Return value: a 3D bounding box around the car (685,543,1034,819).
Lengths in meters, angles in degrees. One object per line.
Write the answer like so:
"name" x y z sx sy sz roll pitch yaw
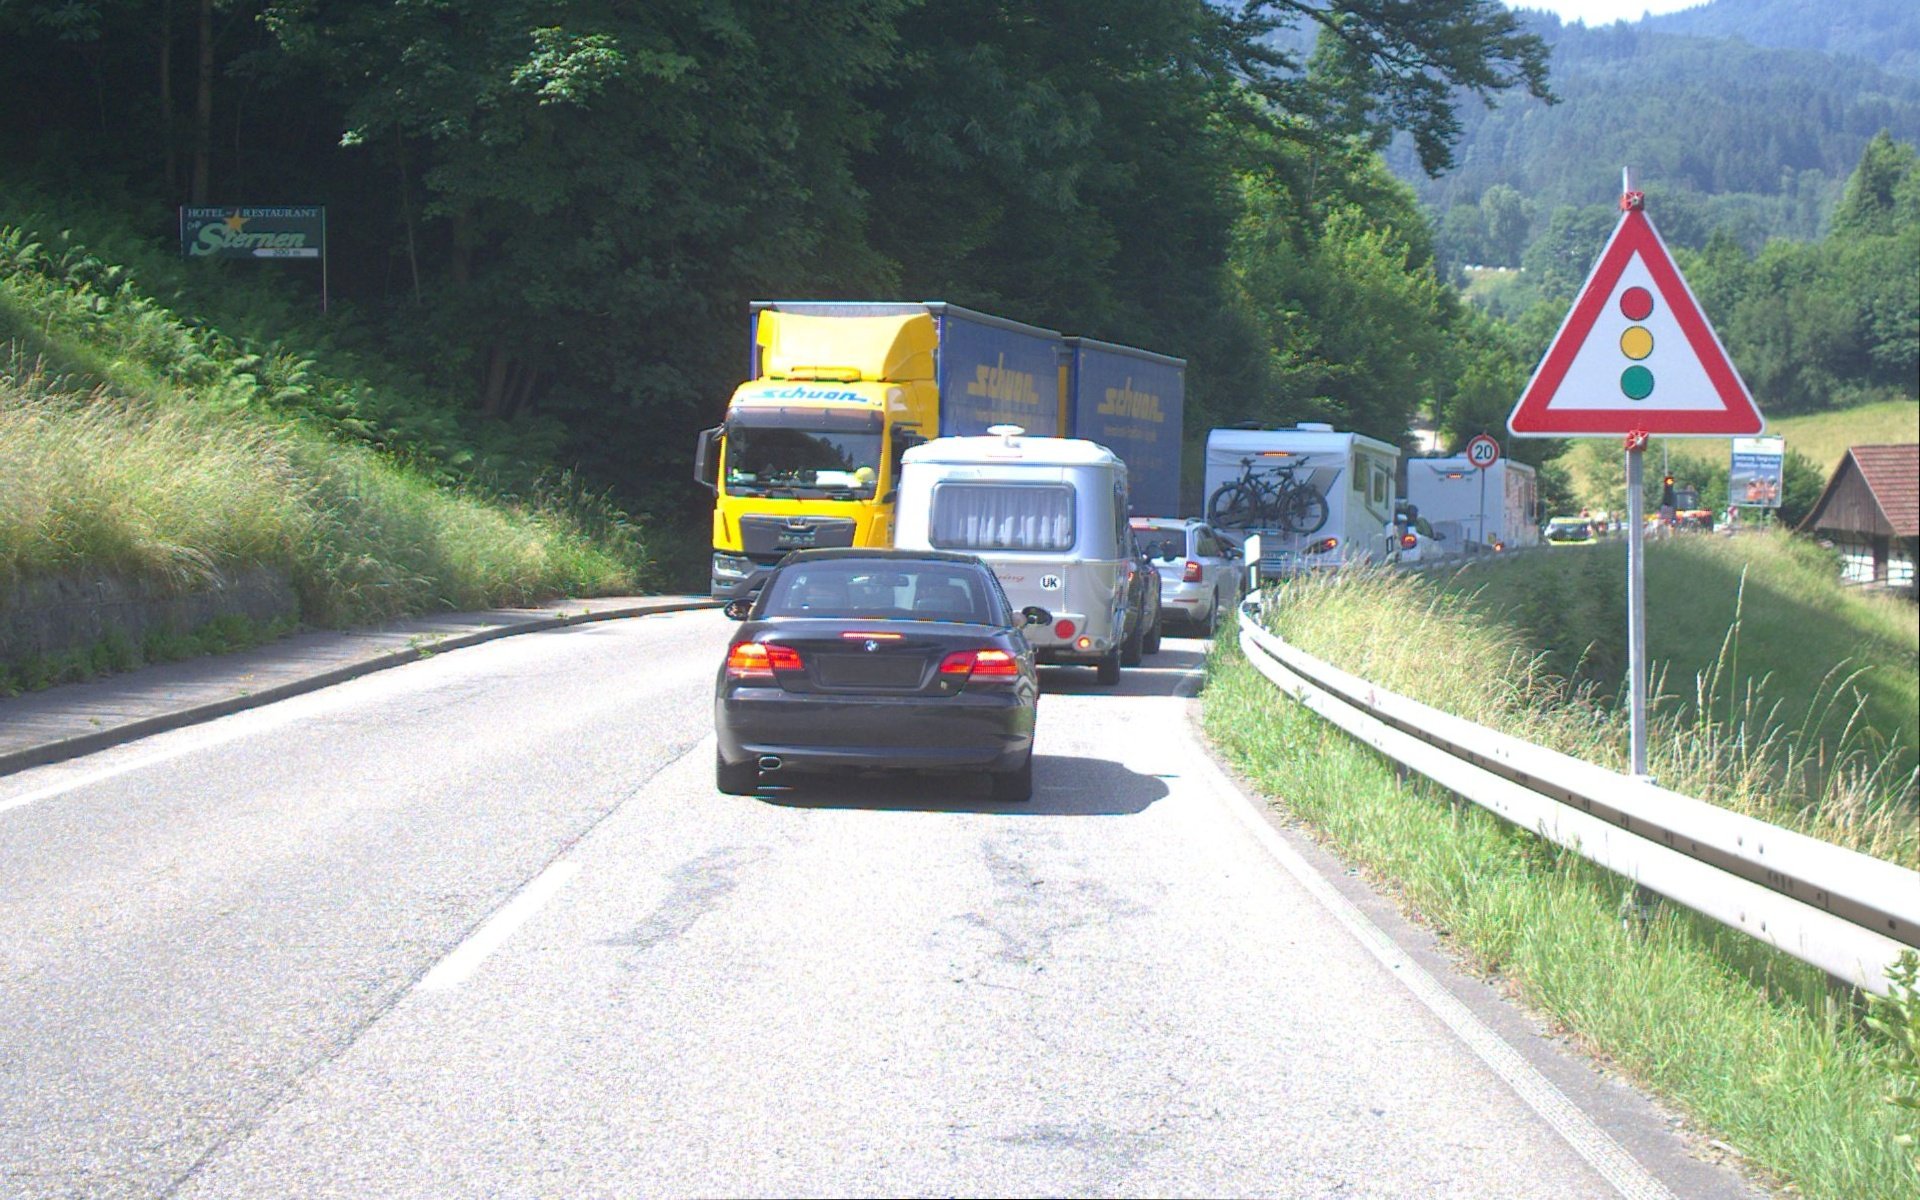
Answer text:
"car" -0.594 0.390 19.682 1.771 1.331 3.767 2 2 -2

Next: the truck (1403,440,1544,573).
"truck" 11.698 -2.062 77.946 2.239 2.794 6.227 2 1 16

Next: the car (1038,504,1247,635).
"car" 2.377 -0.417 43.783 1.995 1.479 3.998 4 2 12

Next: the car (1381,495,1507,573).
"car" 10.061 -1.383 71.289 1.789 1.459 3.996 4 3 19

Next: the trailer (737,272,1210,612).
"trailer" 0.686 -2.335 52.908 3.262 4.402 15.305 2 2 15

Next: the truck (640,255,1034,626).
"truck" -1.458 -2.071 44.961 3.191 4.381 6.567 3 3 15

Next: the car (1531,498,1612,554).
"car" 17.720 -2.131 99.558 1.908 1.481 3.997 2 1 15

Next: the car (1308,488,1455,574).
"car" 8.082 -1.338 65.665 1.995 1.459 3.997 4 3 17

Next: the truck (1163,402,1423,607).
"truck" 5.533 -1.571 56.003 2.793 2.987 6.863 4 3 16

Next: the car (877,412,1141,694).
"car" 0.538 -0.516 31.747 1.994 2.344 4.914 2 3 5

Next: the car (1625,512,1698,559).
"car" 25.827 -2.373 126.429 1.996 1.570 3.996 3 1 20

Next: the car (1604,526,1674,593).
"car" 21.566 -1.292 109.102 1.995 1.919 3.998 5 2 12
